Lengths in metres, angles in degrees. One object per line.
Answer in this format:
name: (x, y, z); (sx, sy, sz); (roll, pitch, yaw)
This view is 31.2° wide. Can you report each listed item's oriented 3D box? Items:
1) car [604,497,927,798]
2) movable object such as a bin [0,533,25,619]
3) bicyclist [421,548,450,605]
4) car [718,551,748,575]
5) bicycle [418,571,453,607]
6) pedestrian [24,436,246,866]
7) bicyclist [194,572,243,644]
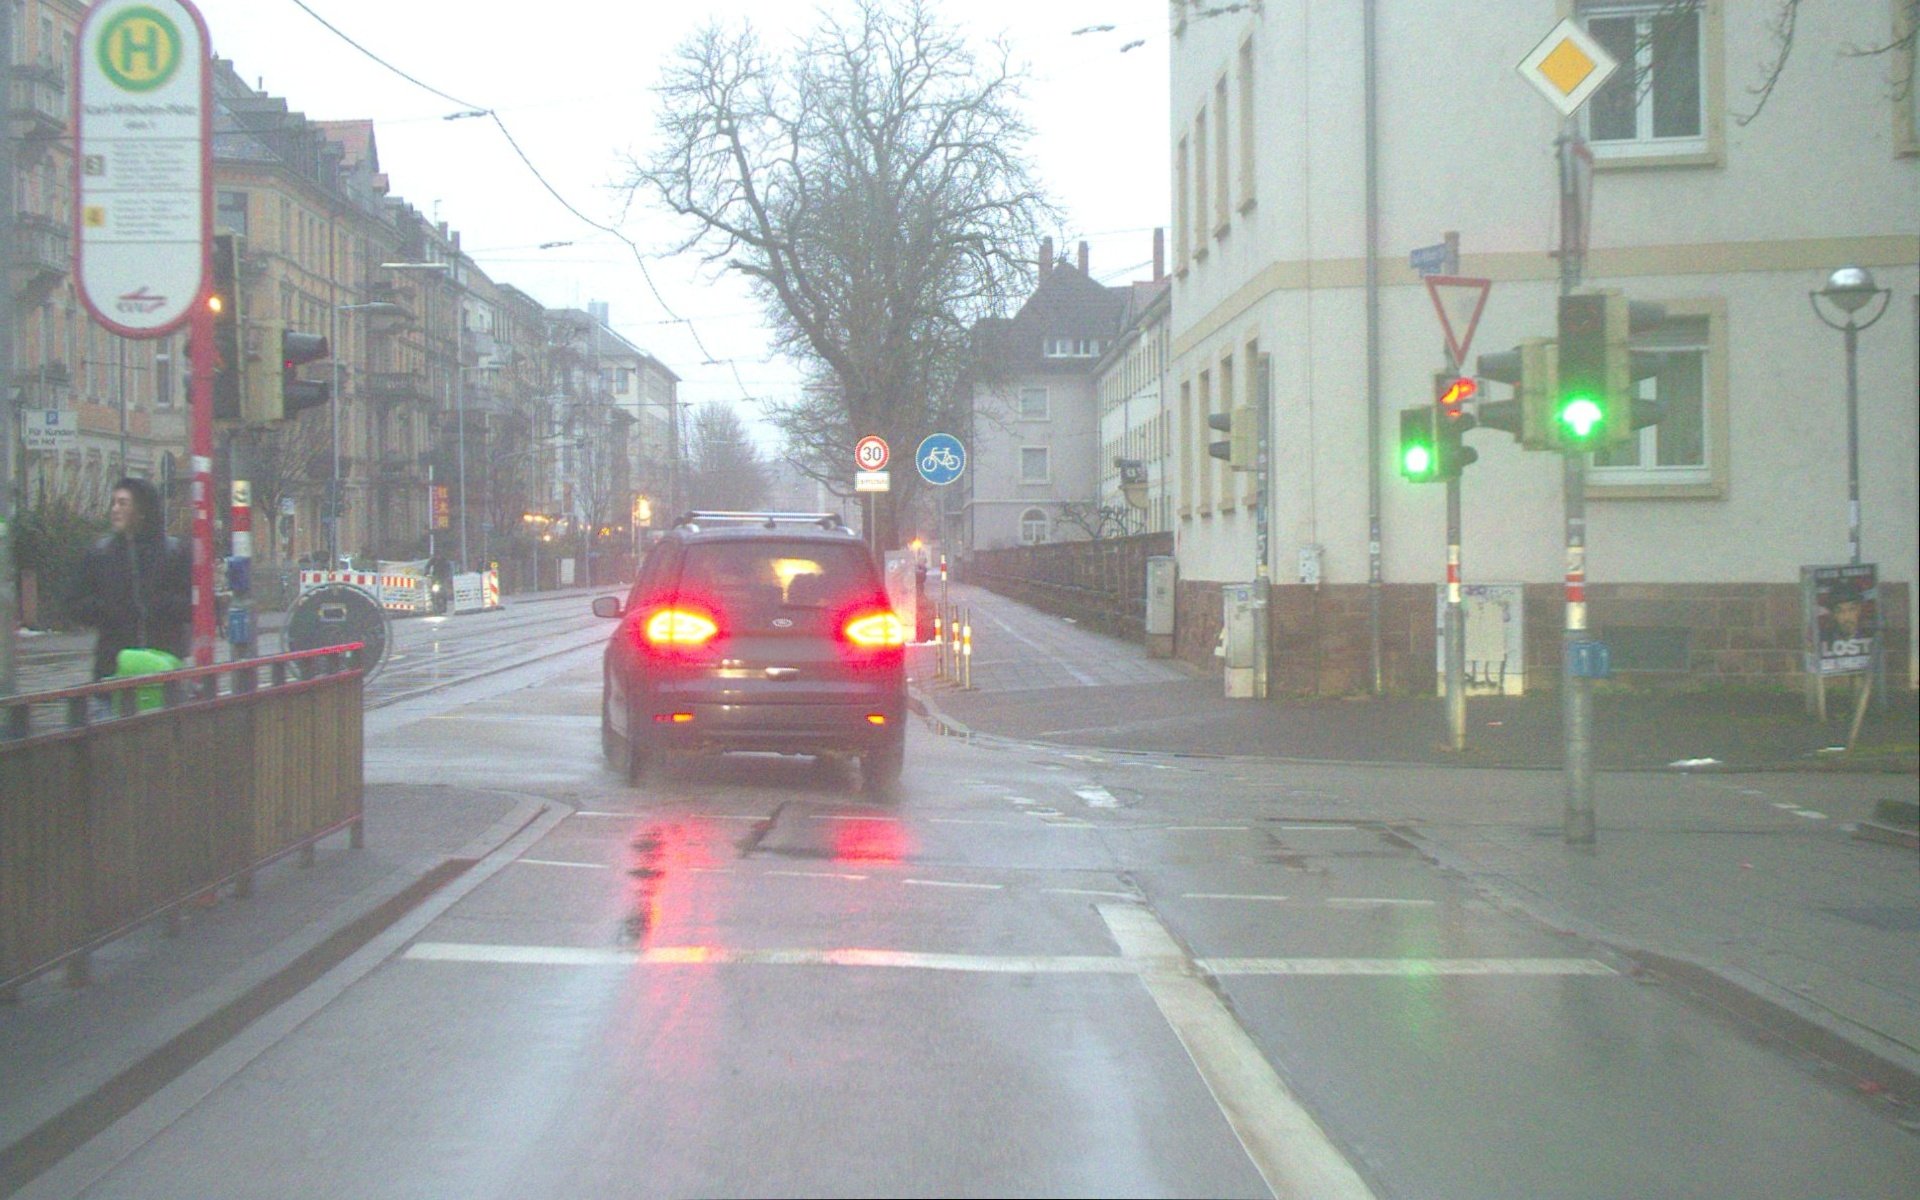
car: (-1.450, 0.271, 24.064); (1.801, 1.864, 4.019); (3, 1, -9)
movable object such as a bin: (-18.282, -0.463, 64.134); (1.244, 1.580, 1.307); (1, 1, 4)
bicyclist: (-14.710, -0.661, 96.463); (0.683, 1.610, 0.765); (0, 1, 0)
car: (-16.268, -2.661, 246.781); (1.923, 1.714, 4.000); (0, 1, -1)
bicycle: (-14.713, -0.316, 96.482); (0.678, 0.969, 1.933); (0, 1, 0)
pedestrian: (-3.805, 0.226, 15.898); (0.687, 1.911, 0.717); (3, 1, 11)
bicyclist: (-14.249, 0.150, 66.060); (0.704, 1.359, 0.944); (2, 0, 0)
